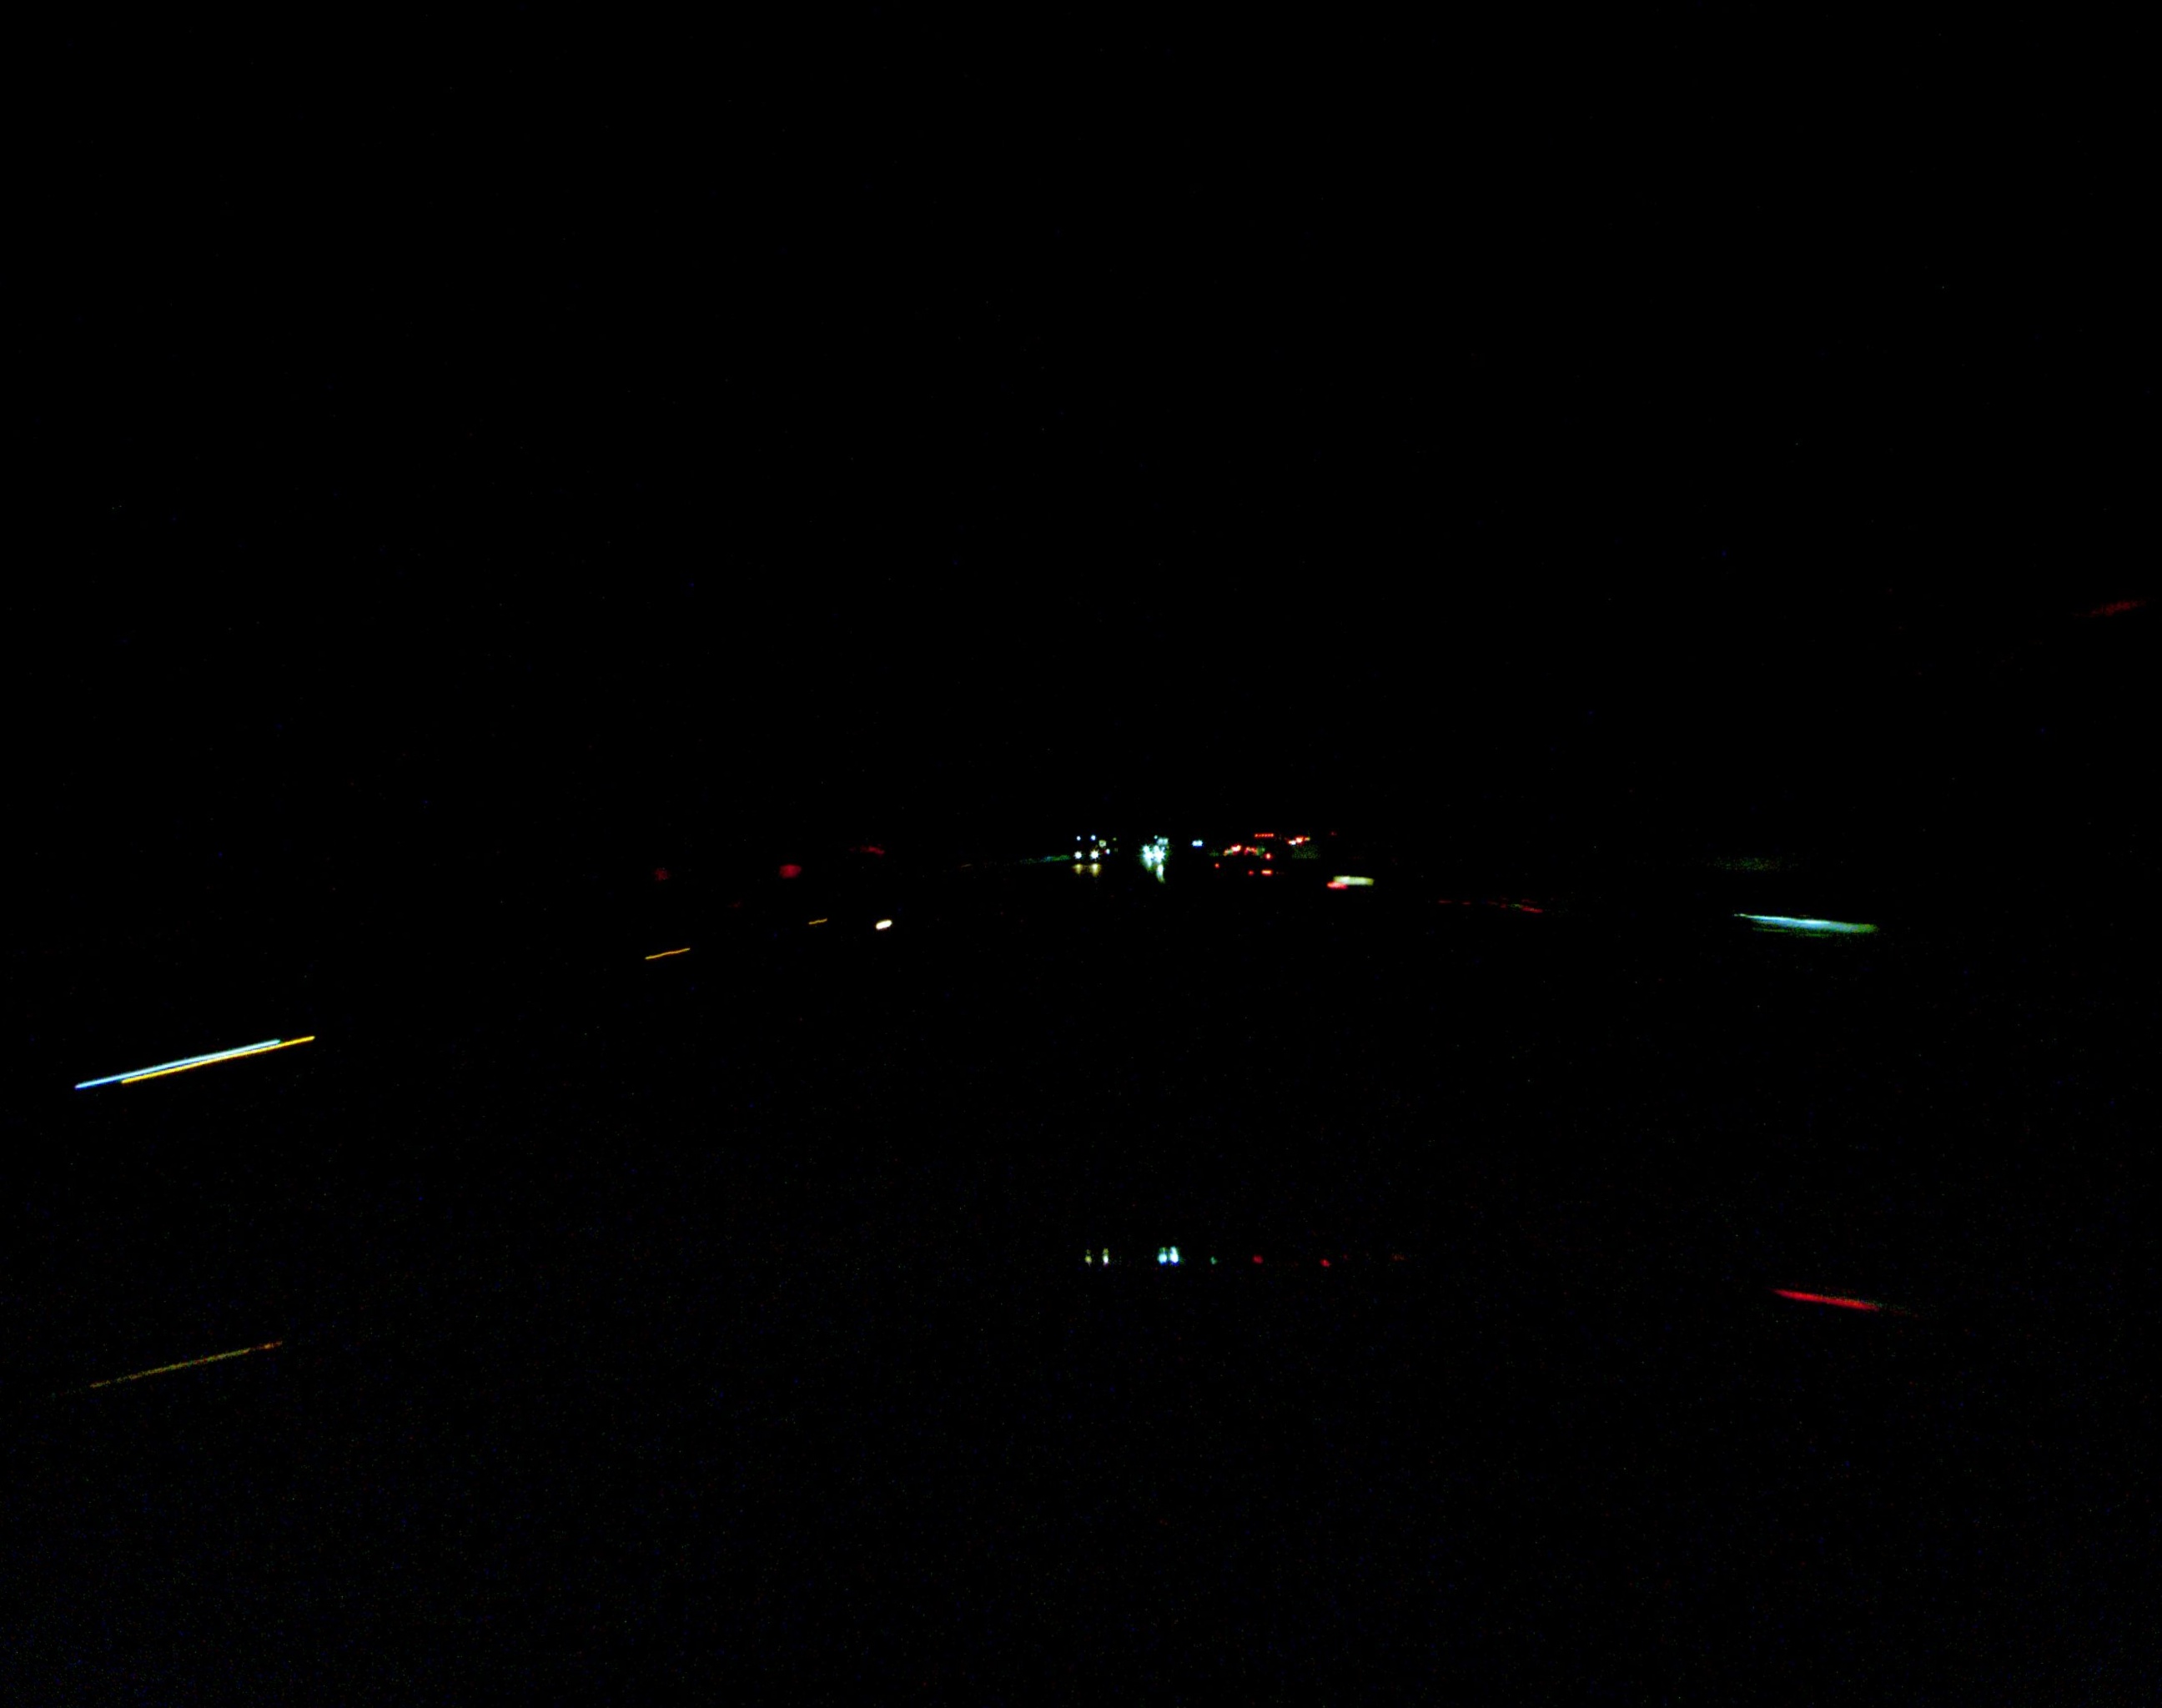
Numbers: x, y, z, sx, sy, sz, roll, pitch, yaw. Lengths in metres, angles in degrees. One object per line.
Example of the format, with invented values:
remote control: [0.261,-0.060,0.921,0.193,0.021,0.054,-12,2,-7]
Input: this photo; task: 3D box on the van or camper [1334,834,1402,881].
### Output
van or camper: [18.098,0.159,48.252,2.450,2.745,6.490,-1,1,6]

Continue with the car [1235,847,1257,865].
car: [20.237,0.252,93.147,1.998,2.002,4.000,-2,1,4]

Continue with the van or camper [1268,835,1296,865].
van or camper: [23.388,-0.515,88.668,2.274,3.360,5.696,-1,1,6]

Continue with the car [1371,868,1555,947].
car: [7.875,1.025,16.185,1.758,1.346,4.292,-1,0,0]

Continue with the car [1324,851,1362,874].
car: [20.388,0.663,59.296,1.837,1.600,4.506,-1,1,6]

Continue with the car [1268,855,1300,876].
car: [16.518,0.883,62.043,1.823,1.506,4.506,-1,1,6]

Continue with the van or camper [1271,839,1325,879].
van or camper: [14.865,0.303,52.455,2.260,2.580,6.688,0,1,4]

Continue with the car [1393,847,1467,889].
car: [17.506,0.653,38.384,1.843,1.912,4.564,0,2,3]

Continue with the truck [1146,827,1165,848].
truck: [14.717,-3.225,150.306,2.897,3.949,4.004,-3,1,16]

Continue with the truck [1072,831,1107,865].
truck: [1.137,-0.759,92.933,2.872,3.818,8.058,-3,1,9]

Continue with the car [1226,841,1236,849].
car: [34.288,-2.051,173.906,2.142,1.696,5.116,-1,1,12]

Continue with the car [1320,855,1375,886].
car: [13.995,0.843,40.051,1.752,1.444,3.841,0,2,3]

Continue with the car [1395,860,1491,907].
car: [12.803,1.002,27.144,1.610,1.471,4.074,-1,1,2]

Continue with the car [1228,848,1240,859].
car: [22.976,-0.111,114.156,1.603,1.434,4.002,-1,1,9]

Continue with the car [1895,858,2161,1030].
car: [11.636,0.891,7.704,1.998,1.650,4.454,-1,0,1]

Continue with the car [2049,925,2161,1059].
car: [15.653,1.950,9.326,1.866,1.690,4.392,-1,1,-2]

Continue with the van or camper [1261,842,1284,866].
van or camper: [24.037,-0.044,95.532,1.837,2.954,6.401,-1,1,6]

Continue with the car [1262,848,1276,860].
car: [26.151,0.001,105.653,1.603,1.434,4.002,-1,1,9]

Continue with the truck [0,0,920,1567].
truck: [-4.247,-0.390,1.078,3.491,4.110,18.709,-3,0,1]

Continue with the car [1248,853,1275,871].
car: [16.546,0.708,69.765,1.837,1.443,4.506,-1,1,6]

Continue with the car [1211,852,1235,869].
car: [13.531,0.636,72.626,1.823,1.443,4.506,-1,1,6]

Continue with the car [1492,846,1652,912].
car: [15.971,0.713,25.125,1.999,1.948,4.986,-1,1,-1]

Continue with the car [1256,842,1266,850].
car: [34.529,-1.469,145.987,1.603,1.434,4.002,-1,1,9]

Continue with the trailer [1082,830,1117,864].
trailer: [2.661,-1.088,102.856,2.880,3.909,12.890,-4,2,9]

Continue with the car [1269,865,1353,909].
car: [8.228,1.133,27.593,1.758,1.346,4.635,-1,0,2]

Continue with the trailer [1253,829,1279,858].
trailer: [28.911,-1.745,119.406,3.441,4.217,12.840,-1,1,11]

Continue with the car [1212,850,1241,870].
car: [11.251,0.442,58.919,1.837,1.443,4.506,-1,1,6]

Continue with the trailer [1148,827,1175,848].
trailer: [16.818,-3.512,158.154,2.837,3.952,15.777,-3,1,15]

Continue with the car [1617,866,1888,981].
car: [12.250,1.158,14.275,1.742,1.733,4.001,0,1,4]

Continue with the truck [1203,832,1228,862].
truck: [17.419,-0.944,98.747,2.660,3.571,8.552,-3,1,8]

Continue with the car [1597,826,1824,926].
car: [15.815,0.492,19.496,2.136,2.254,4.564,-1,0,2]

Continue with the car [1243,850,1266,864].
car: [18.636,0.307,81.847,1.837,1.443,4.506,-1,1,6]

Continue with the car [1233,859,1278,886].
car: [10.479,1.083,45.930,1.758,1.536,4.715,-1,0,2]
